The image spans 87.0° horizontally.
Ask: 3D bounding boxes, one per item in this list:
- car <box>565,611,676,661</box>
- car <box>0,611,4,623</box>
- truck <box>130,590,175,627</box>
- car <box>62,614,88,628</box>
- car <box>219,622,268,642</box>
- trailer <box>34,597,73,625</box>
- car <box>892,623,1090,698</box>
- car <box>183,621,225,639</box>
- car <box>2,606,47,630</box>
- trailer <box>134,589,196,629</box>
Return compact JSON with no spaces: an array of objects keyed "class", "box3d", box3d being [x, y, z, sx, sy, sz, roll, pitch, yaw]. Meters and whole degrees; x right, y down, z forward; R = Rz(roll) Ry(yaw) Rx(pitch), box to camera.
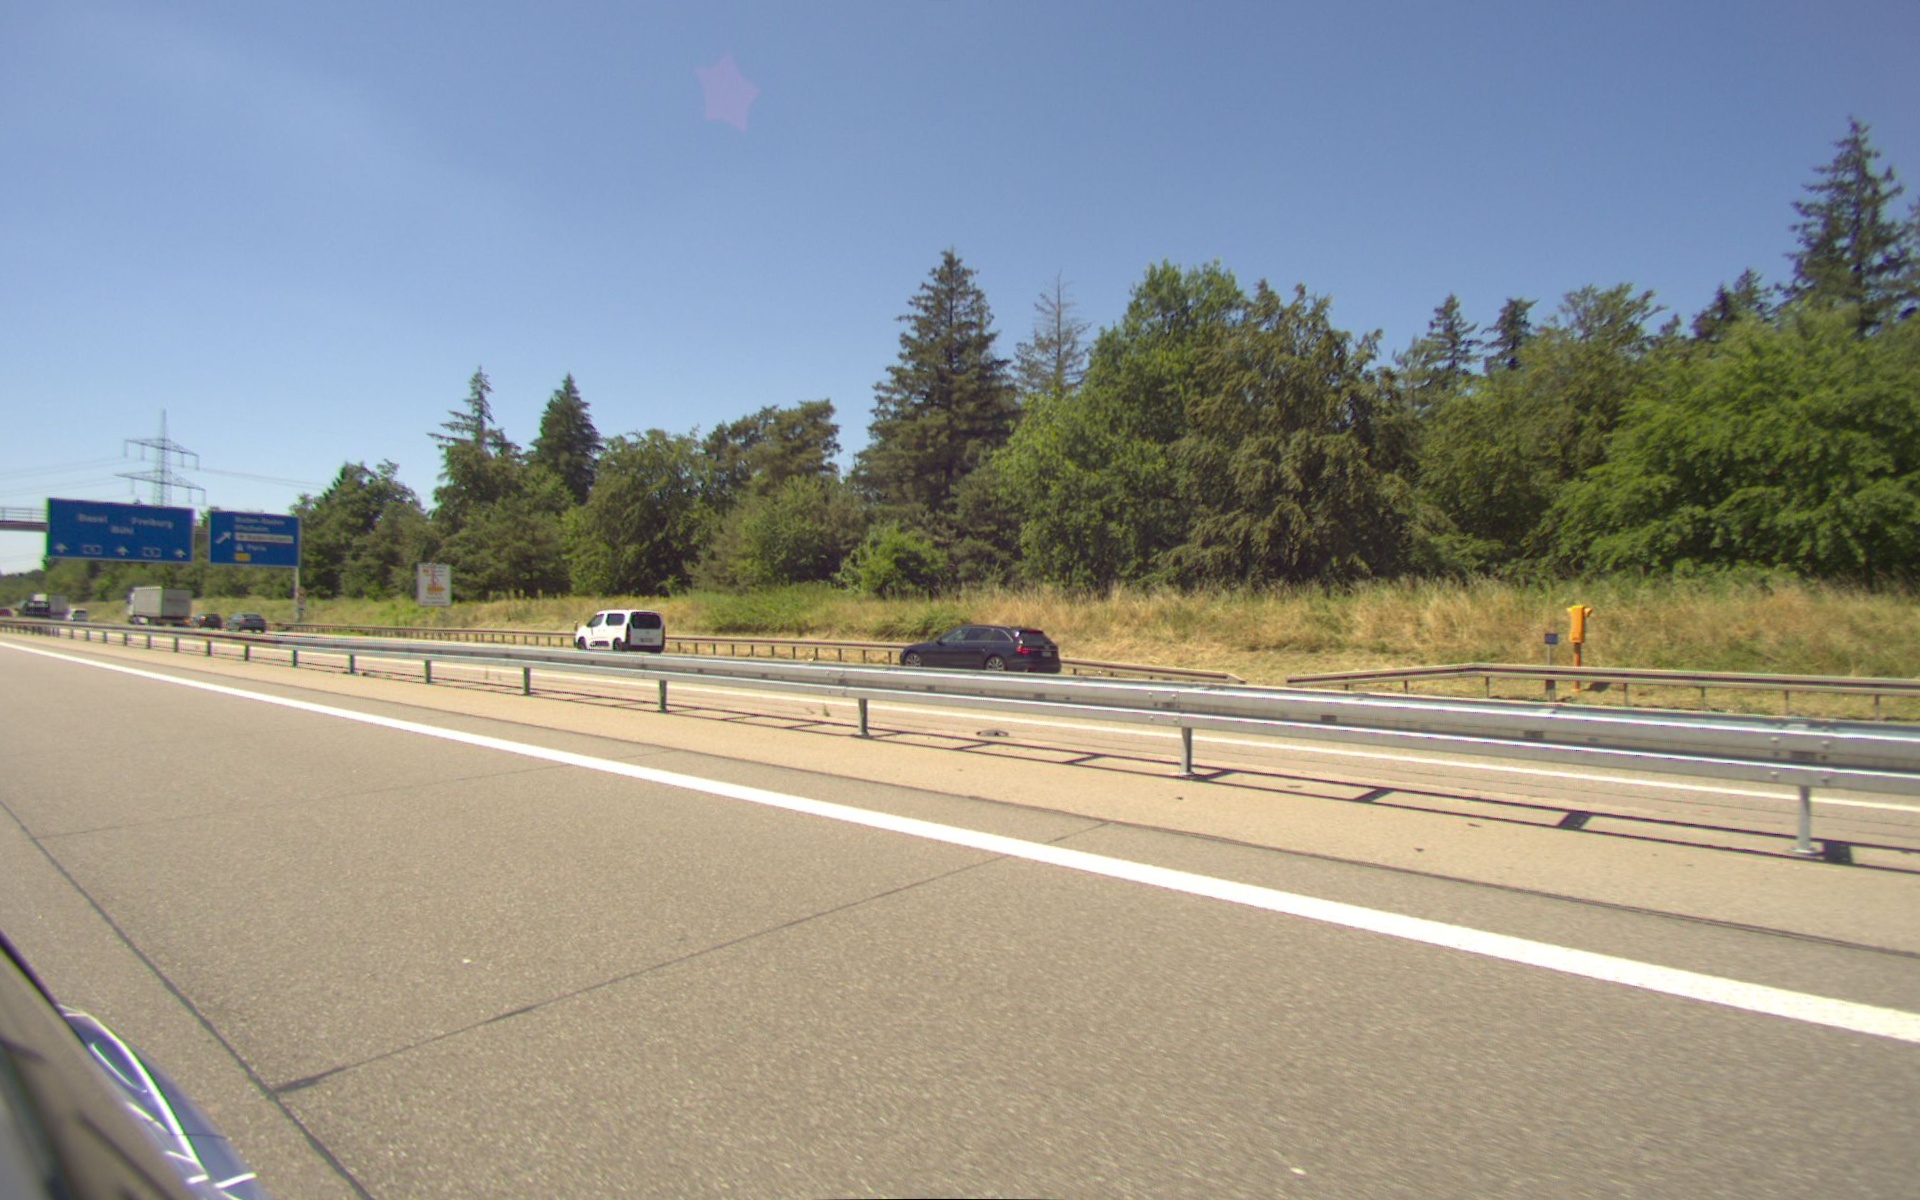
[{"class":"car","box3d":[-13.329,1.399,39.608,4.640,1.842,1.973,-1,-3,41]},{"class":"car","box3d":[-130.461,2.248,136.472,4.919,1.622,1.827,-1,0,41]},{"class":"truck","box3d":[-89.202,0.973,111.730,5.400,3.960,3.134,-1,0,43]},{"class":"car","box3d":[-119.358,2.832,136.480,4.988,1.763,1.973,-1,-1,41]},{"class":"car","box3d":[-54.767,2.415,77.321,4.940,1.474,1.906,-1,-2,41]},{"class":"trailer","box3d":[-139.752,1.695,155.881,14.360,4.073,3.179,-1,-1,43]},{"class":"car","box3d":[0.708,1.507,26.137,4.977,1.716,1.973,-1,-3,41]},{"class":"car","box3d":[-68.388,2.705,91.480,4.940,1.474,2.064,0,-1,41]},{"class":"car","box3d":[-79.066,1.550,85.542,4.940,1.955,2.256,-1,-2,41]},{"class":"trailer","box3d":[-84.258,0.975,107.093,13.964,3.960,3.133,-1,0,43]}]
